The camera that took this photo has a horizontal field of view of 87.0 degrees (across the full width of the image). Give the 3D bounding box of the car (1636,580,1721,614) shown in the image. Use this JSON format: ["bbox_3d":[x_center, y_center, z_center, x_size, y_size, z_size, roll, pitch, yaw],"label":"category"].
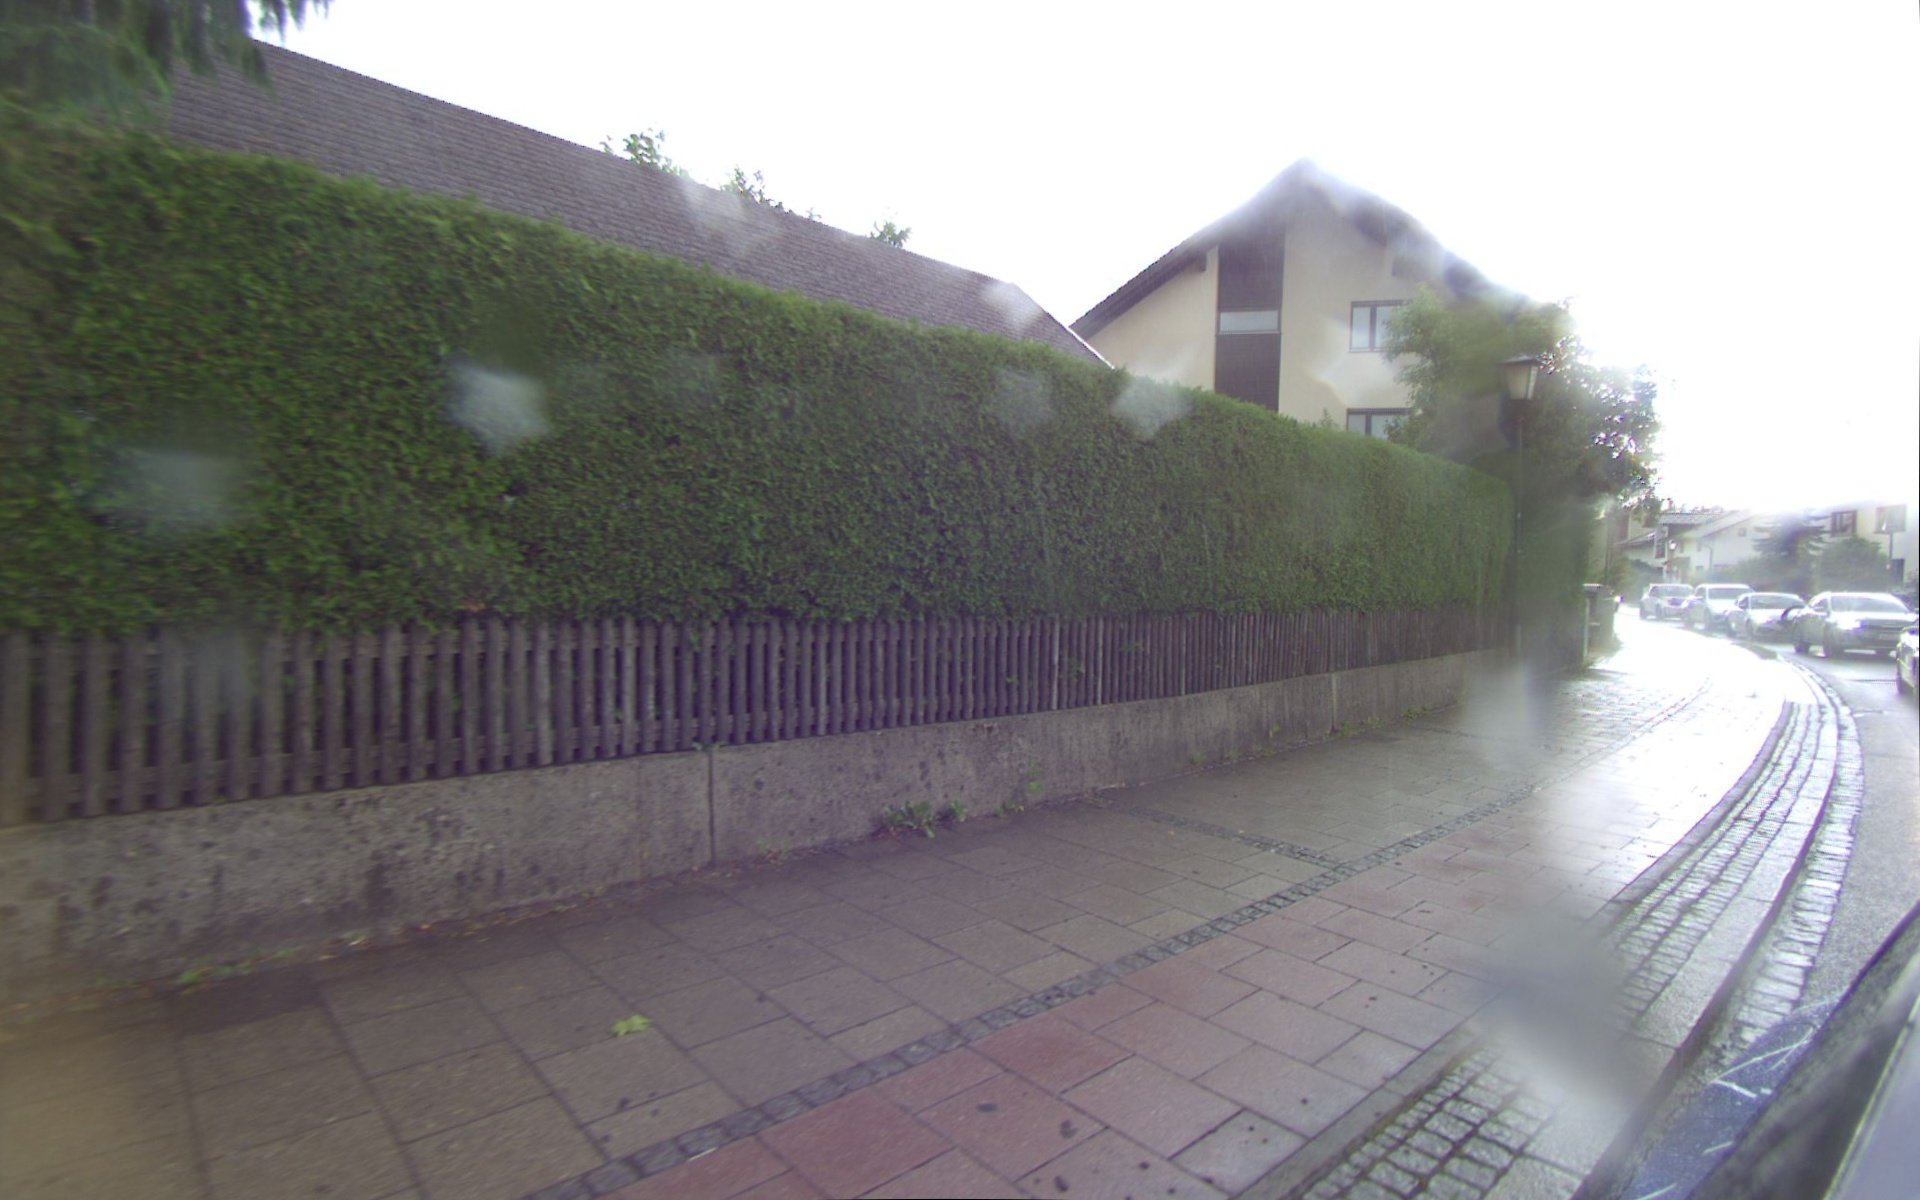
[{"bbox_3d":[31.378,-0.145,44.321,1.771,1.390,4.258,0,1,17],"label":"car"}]

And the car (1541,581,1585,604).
[{"bbox_3d":[44.188,-0.559,74.223,1.974,1.615,4.165,0,0,19],"label":"car"}]

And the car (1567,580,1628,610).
[{"bbox_3d":[35.508,-0.309,56.470,1.771,1.568,4.258,0,1,17],"label":"car"}]

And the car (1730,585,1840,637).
[{"bbox_3d":[24.877,0.285,30.670,1.779,1.412,4.239,0,1,28],"label":"car"}]

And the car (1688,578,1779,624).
[{"bbox_3d":[27.764,-0.009,36.462,1.777,1.568,4.243,0,1,26],"label":"car"}]

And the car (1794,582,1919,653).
[{"bbox_3d":[21.391,0.335,23.988,1.781,1.497,5.325,0,1,32],"label":"car"}]

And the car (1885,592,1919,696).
[{"bbox_3d":[14.359,0.622,13.964,1.783,1.412,4.228,0,1,35],"label":"car"}]

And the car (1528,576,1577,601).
[{"bbox_3d":[39.217,-0.788,67.083,1.770,1.568,4.259,0,1,17],"label":"car"}]
